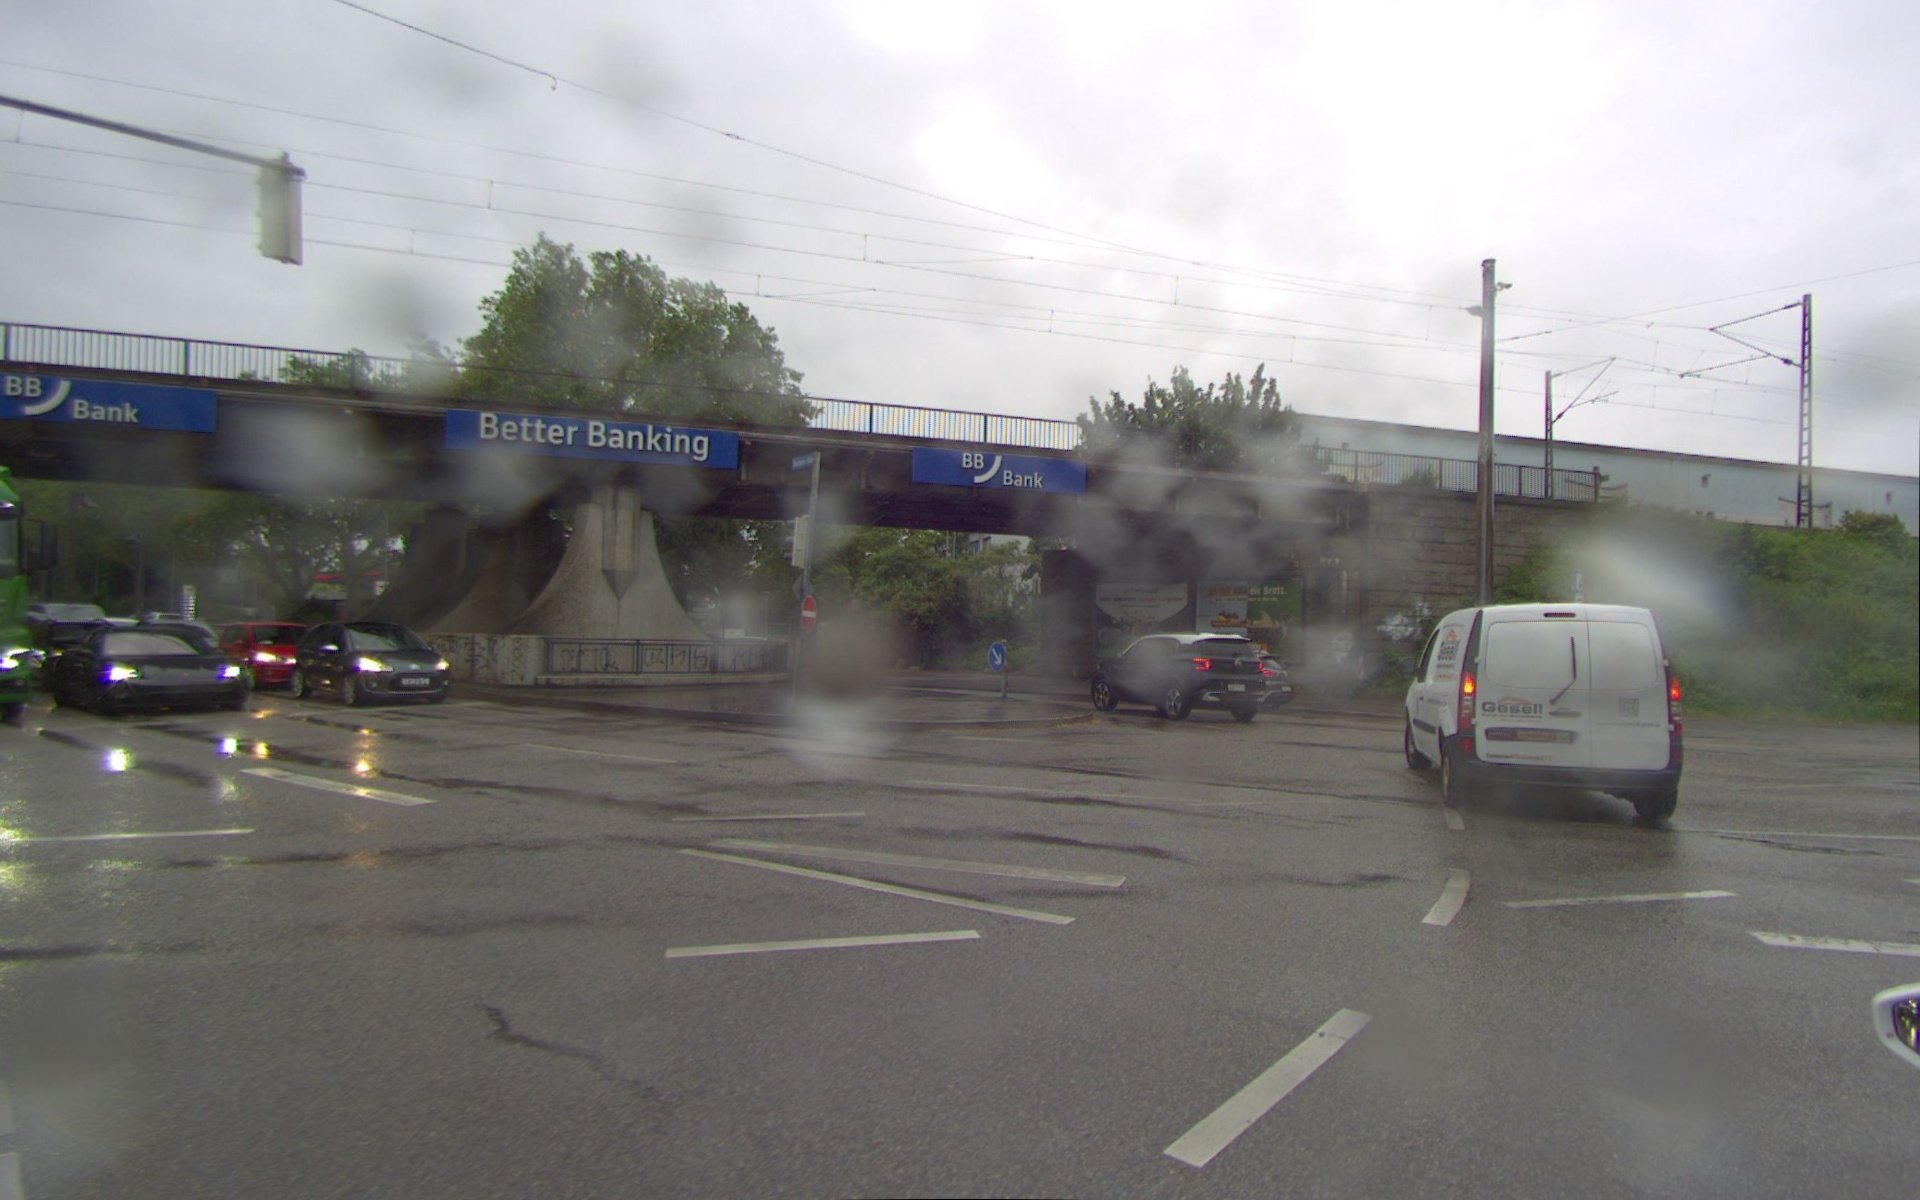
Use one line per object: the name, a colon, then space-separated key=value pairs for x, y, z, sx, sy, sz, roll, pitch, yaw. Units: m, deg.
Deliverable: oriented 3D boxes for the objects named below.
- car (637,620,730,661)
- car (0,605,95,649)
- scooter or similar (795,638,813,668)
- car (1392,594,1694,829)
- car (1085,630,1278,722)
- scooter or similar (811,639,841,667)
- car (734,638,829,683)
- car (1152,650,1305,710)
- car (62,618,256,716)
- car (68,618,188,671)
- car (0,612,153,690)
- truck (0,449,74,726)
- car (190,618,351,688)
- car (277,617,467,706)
car: x=-9.483 y=1.377 z=34.328 sx=1.573 sy=1.323 sz=3.412 roll=3 pitch=-3 yaw=-45
car: x=-32.904 y=0.976 z=36.143 sx=3.935 sy=1.489 sz=1.822 roll=-1 pitch=-3 yaw=36
scooter or similar: x=-7.206 y=2.454 z=46.444 sx=0.698 sy=1.327 sz=1.555 roll=-3 pitch=-1 yaw=-11
car: x=5.407 y=0.943 z=9.891 sx=1.726 sy=1.801 sz=4.002 roll=-1 pitch=-2 yaw=18
car: x=4.260 y=1.431 z=20.000 sx=1.895 sy=1.630 sz=3.981 roll=2 pitch=-2 yaw=-21
scooter or similar: x=-6.026 y=2.380 z=45.157 sx=0.765 sy=1.194 sz=1.533 roll=0 pitch=0 yaw=-34
car: x=-6.392 y=2.120 z=35.840 sx=3.303 sy=1.493 sz=1.563 roll=-1 pitch=-3 yaw=38
car: x=6.489 y=1.890 z=24.439 sx=1.674 sy=1.300 sz=3.217 roll=3 pitch=-3 yaw=-42
car: x=-14.060 y=1.092 z=17.534 sx=4.615 sy=1.505 sz=1.738 roll=-1 pitch=-3 yaw=40
car: x=-26.436 y=1.386 z=31.884 sx=3.935 sy=1.594 sz=1.993 roll=-1 pitch=-3 yaw=36
car: x=-20.014 y=1.115 z=22.562 sx=3.936 sy=1.594 sz=1.993 roll=-1 pitch=-3 yaw=37
truck: x=-18.219 y=-0.169 z=17.069 sx=10.032 sy=4.001 sz=2.678 roll=-1 pitch=-2 yaw=37
car: x=-15.774 y=1.175 z=22.936 sx=3.935 sy=1.471 sz=1.815 roll=-1 pitch=-3 yaw=36
car: x=-11.445 y=1.139 z=19.473 sx=3.934 sy=1.566 sz=1.655 roll=-1 pitch=-3 yaw=35
